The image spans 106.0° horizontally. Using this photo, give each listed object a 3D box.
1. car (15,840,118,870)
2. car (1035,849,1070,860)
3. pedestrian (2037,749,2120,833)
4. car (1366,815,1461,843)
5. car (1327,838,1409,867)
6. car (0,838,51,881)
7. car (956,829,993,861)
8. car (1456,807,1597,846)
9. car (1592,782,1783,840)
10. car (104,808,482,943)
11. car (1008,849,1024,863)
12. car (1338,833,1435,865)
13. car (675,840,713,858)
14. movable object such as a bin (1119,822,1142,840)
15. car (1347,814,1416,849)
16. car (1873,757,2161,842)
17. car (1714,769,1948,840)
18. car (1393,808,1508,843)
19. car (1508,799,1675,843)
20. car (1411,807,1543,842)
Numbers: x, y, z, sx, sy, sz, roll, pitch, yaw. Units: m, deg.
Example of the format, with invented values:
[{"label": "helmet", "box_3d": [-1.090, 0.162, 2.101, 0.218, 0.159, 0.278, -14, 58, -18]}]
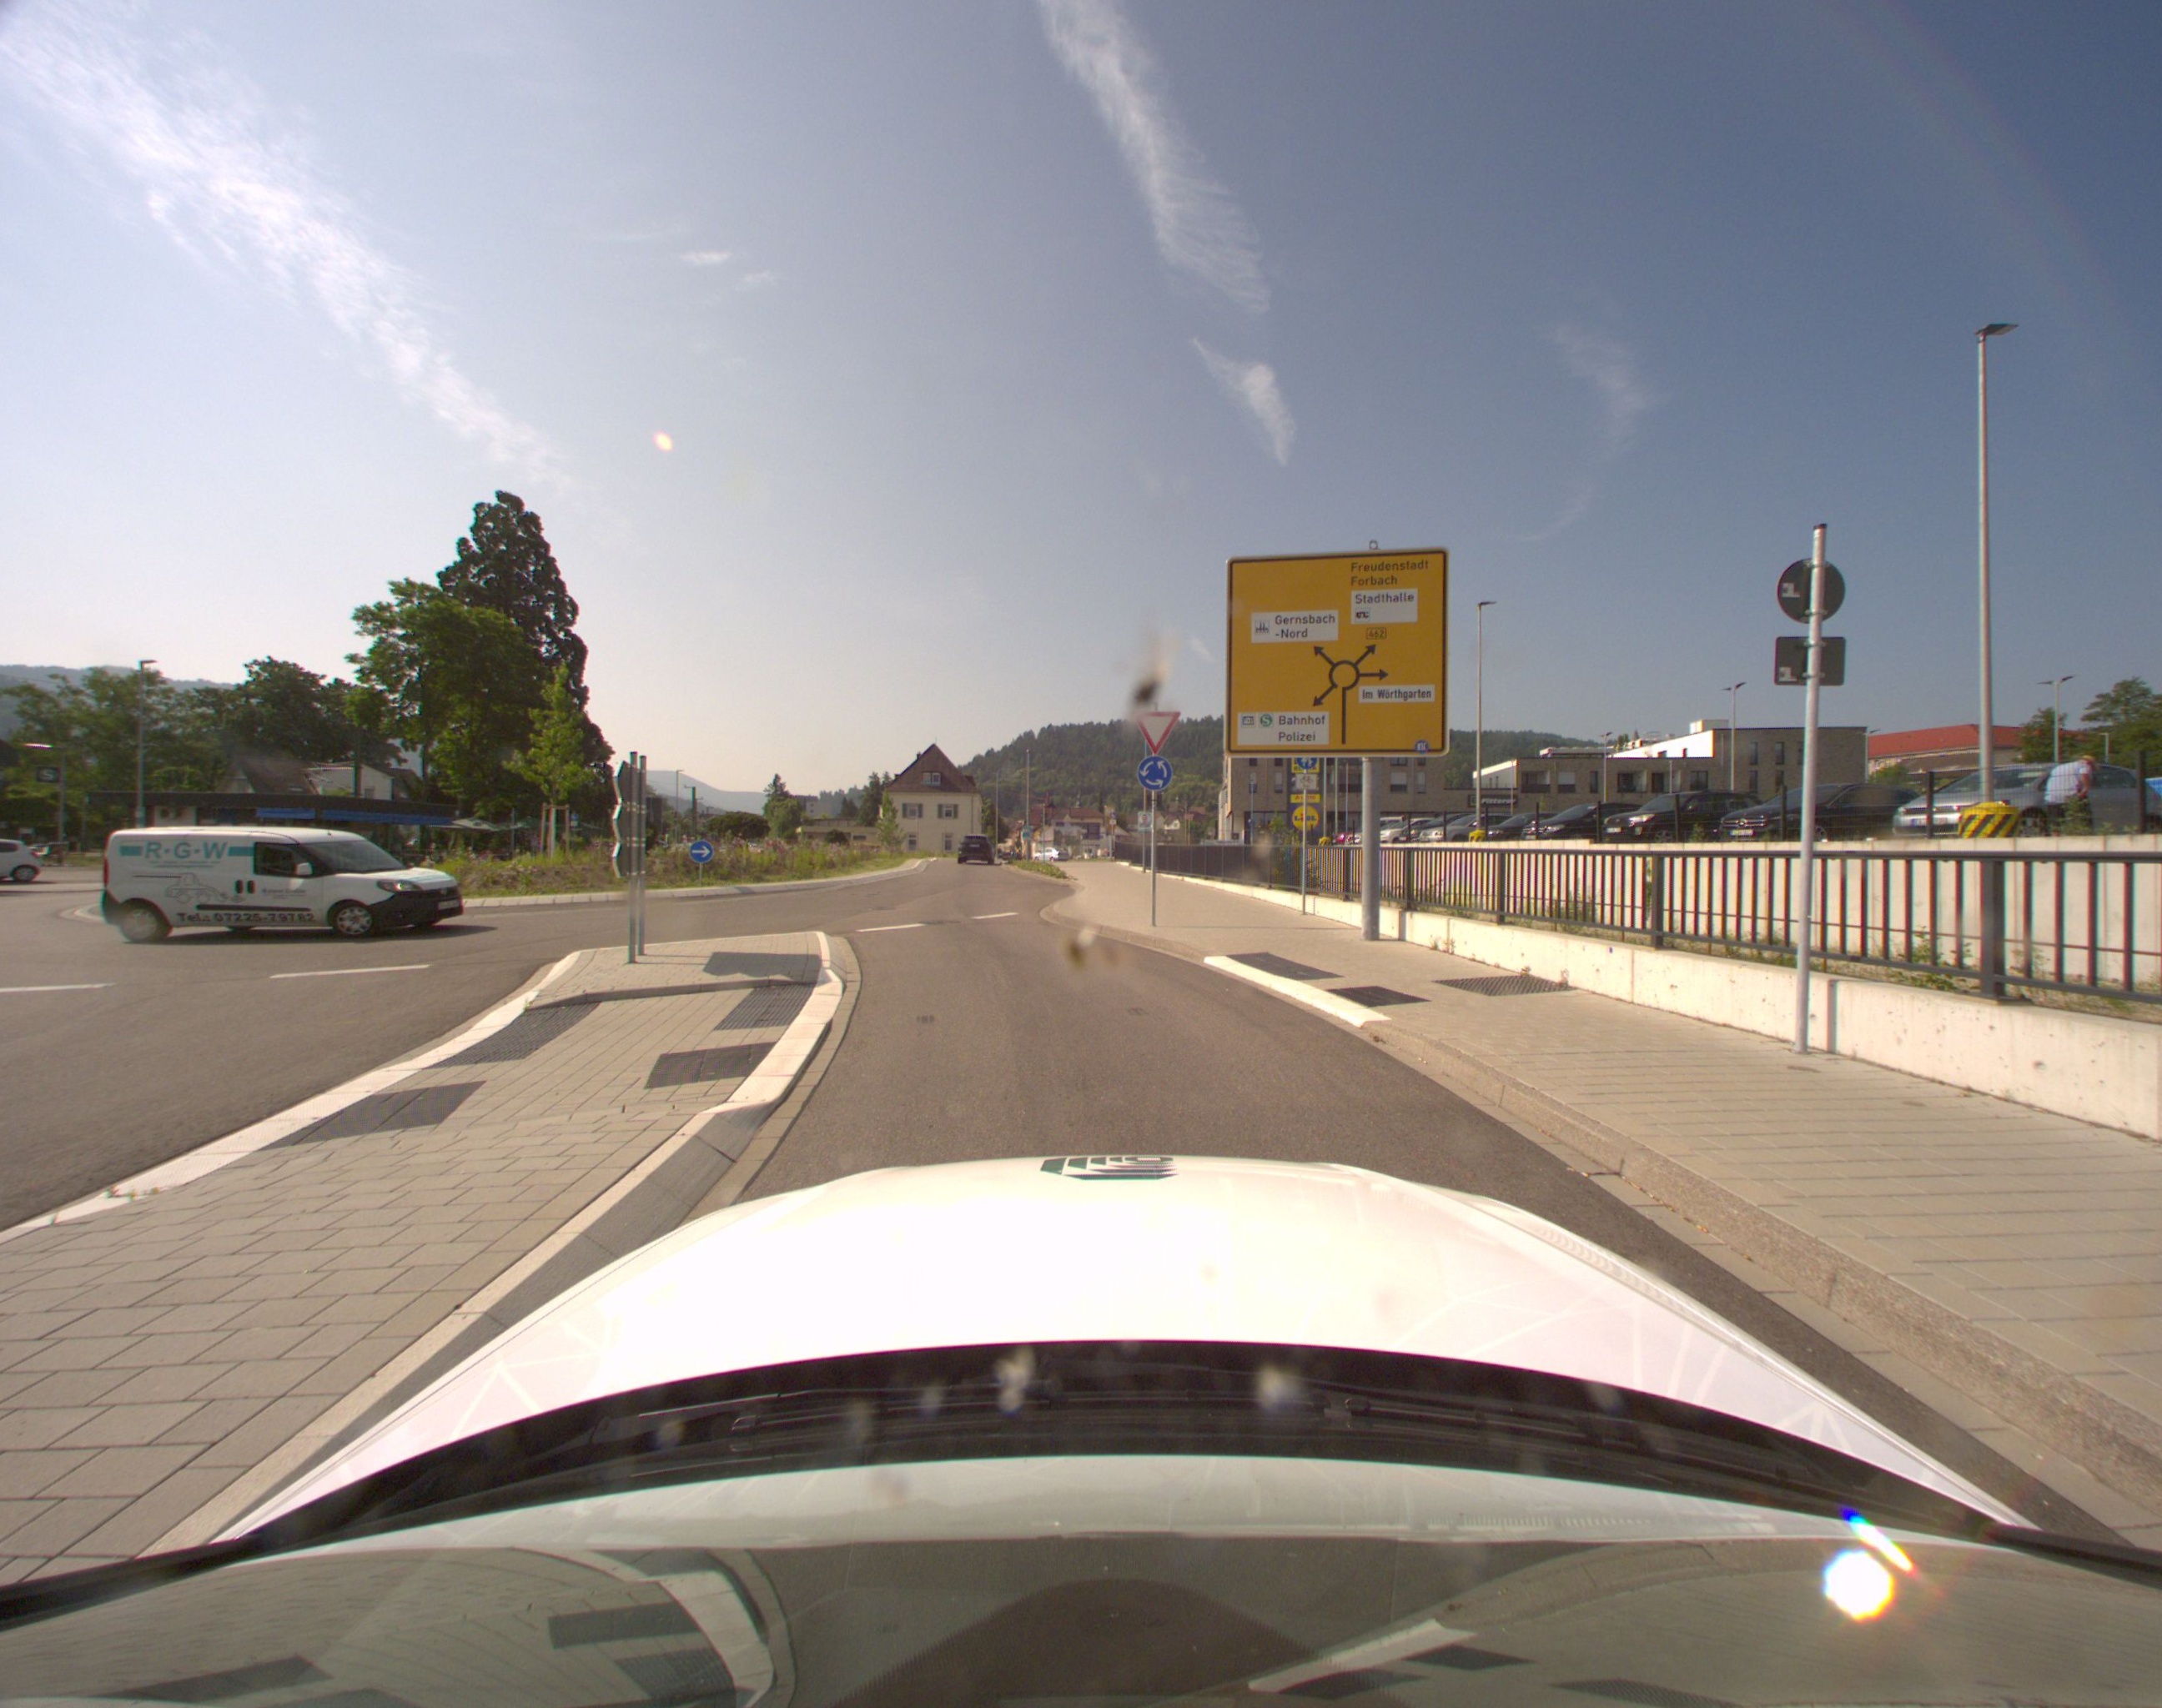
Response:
[{"label": "car", "box_3d": [-47.194, 0.020, 37.898, 3.561, 1.326, 1.420, 1, 0, 10]}, {"label": "car", "box_3d": [-2.764, 0.046, 77.702, 3.237, 0.964, 1.358, -1, -1, 39]}, {"label": "pedestrian", "box_3d": [16.273, -1.012, 13.298, 0.546, 1.312, 0.656, 0, -1, -4]}, {"label": "car", "box_3d": [14.800, -1.101, 36.360, 3.551, 1.199, 1.711, 0, 0, -6]}, {"label": "car", "box_3d": [14.641, -0.095, 41.632, 3.551, 1.430, 1.707, 0, 0, -6]}, {"label": "car", "box_3d": [-37.402, 0.172, 27.108, 1.378, 1.450, 3.550, 1, -2, 14]}, {"label": "car", "box_3d": [-5.876, -0.463, 45.361, 1.878, 1.684, 3.993, 0, 0, -5]}, {"label": "car", "box_3d": [15.116, -0.913, 27.726, 3.962, 1.245, 1.726, 0, 0, -7]}, {"label": "car", "box_3d": [16.089, -1.107, 21.704, 4.000, 1.404, 1.721, 0, 0, -7]}, {"label": "car", "box_3d": [-13.276, 0.301, 13.969, 4.576, 2.077, 1.812, 1, 3, -1]}, {"label": "car", "box_3d": [-9.247, 0.262, 115.952, 1.993, 2.014, 3.987, 0, 0, -9]}, {"label": "car", "box_3d": [14.667, -0.240, 39.179, 4.048, 1.487, 1.715, 0, 0, -4]}, {"label": "car", "box_3d": [-26.228, -0.367, 55.273, 1.387, 1.172, 3.236, 0, 1, -7]}, {"label": "movable object such as a bin", "box_3d": [5.284, -2.446, 86.627, 2.433, 1.844, 1.429, 0, -1, 3]}, {"label": "car", "box_3d": [19.026, -1.383, 51.807, 3.957, 2.136, 2.008, 0, -1, 15]}, {"label": "car", "box_3d": [16.751, -0.919, 14.582, 3.801, 1.364, 1.677, 0, 0, -7]}, {"label": "car", "box_3d": [16.337, -1.039, 17.815, 4.057, 1.404, 1.483, 0, 0, -7]}, {"label": "car", "box_3d": [15.062, -1.127, 33.274, 4.031, 1.342, 1.657, 0, 0, -6]}, {"label": "car", "box_3d": [15.638, -0.973, 25.041, 4.208, 1.245, 1.740, 0, 0, -7]}, {"label": "car", "box_3d": [14.906, -1.102, 30.772, 4.273, 1.245, 1.661, 0, 0, -7]}]
